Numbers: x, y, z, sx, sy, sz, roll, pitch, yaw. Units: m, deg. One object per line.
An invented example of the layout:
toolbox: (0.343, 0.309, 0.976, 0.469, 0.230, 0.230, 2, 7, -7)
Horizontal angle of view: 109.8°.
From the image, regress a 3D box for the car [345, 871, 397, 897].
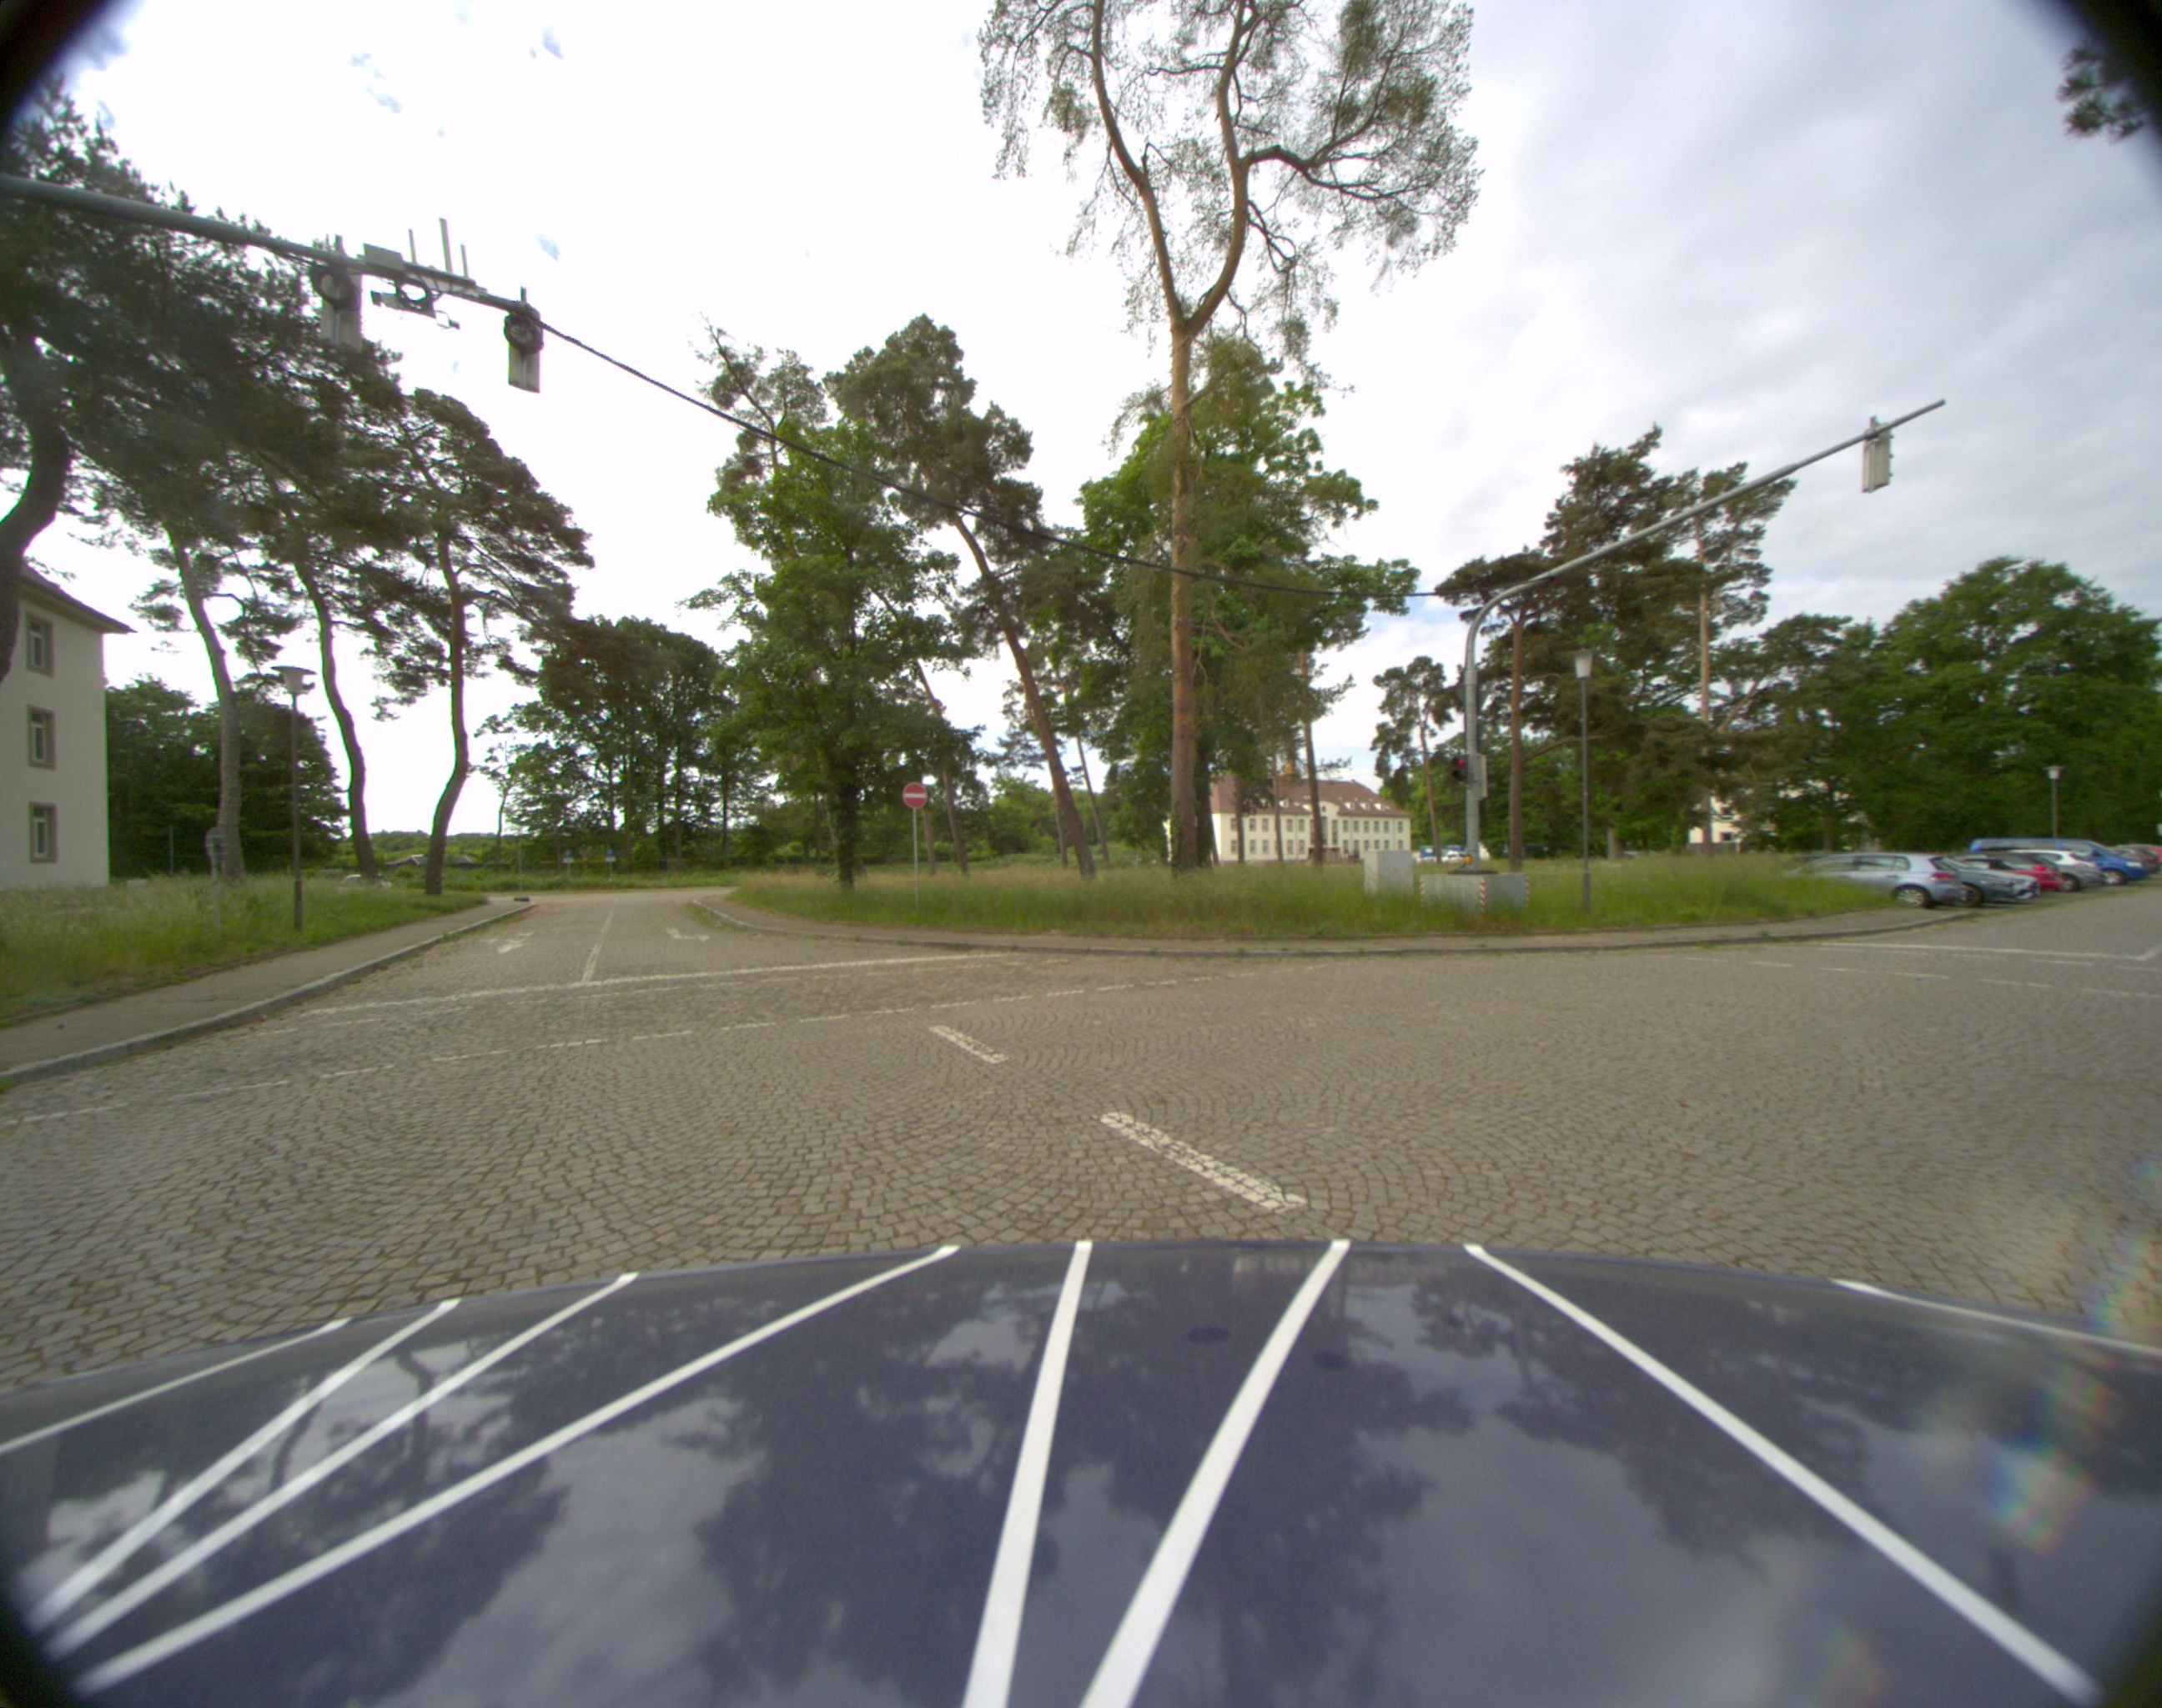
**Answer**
car: (-41.646, 1.735, 44.622, 1.490, 1.428, 3.188, -2, -1, -29)

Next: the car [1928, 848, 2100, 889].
car: (36.922, 0.522, 30.205, 1.603, 1.508, 4.044, -1, 1, -27)

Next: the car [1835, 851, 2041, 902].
car: (27.780, 0.648, 24.803, 1.720, 1.473, 4.176, -1, 1, -29)

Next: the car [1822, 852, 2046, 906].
car: (25.841, 0.678, 23.200, 1.720, 1.465, 4.241, -1, 1, -28)

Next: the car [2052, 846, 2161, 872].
car: (58.168, 0.245, 42.746, 1.729, 1.436, 4.077, -1, 1, -28)

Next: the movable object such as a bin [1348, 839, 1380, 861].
movable object such as a bin: (50.278, -0.683, 135.117, 2.055, 3.747, 5.453, -2, 0, -26)

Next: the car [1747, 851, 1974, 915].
car: (21.060, 0.697, 20.716, 1.701, 1.421, 4.002, -1, 3, -31)

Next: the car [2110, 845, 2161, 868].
car: (71.388, 0.151, 49.973, 1.728, 1.524, 4.088, -1, 1, -23)

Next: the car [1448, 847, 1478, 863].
car: (58.528, 0.163, 116.472, 4.454, 2.350, 1.859, -1, 0, -30)

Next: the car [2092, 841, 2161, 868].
car: (67.234, 0.016, 47.769, 1.728, 1.685, 4.078, -1, 1, -23)

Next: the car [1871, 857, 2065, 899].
car: (29.802, 0.761, 25.685, 1.552, 1.233, 4.043, -1, 1, -29)

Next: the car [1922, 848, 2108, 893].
car: (34.638, 0.551, 28.308, 1.702, 1.508, 4.091, -1, 1, -27)

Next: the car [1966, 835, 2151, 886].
car: (41.779, 0.238, 32.634, 1.915, 1.995, 4.594, -1, 1, -28)

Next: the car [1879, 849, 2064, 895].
car: (31.909, 0.588, 27.373, 1.603, 1.508, 4.044, -1, 1, -27)

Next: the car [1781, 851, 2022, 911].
car: (23.416, 0.693, 21.901, 1.667, 1.376, 4.430, -1, 3, -31)

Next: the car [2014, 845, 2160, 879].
car: (49.340, 0.348, 37.372, 1.656, 1.584, 4.077, -1, 1, -27)
